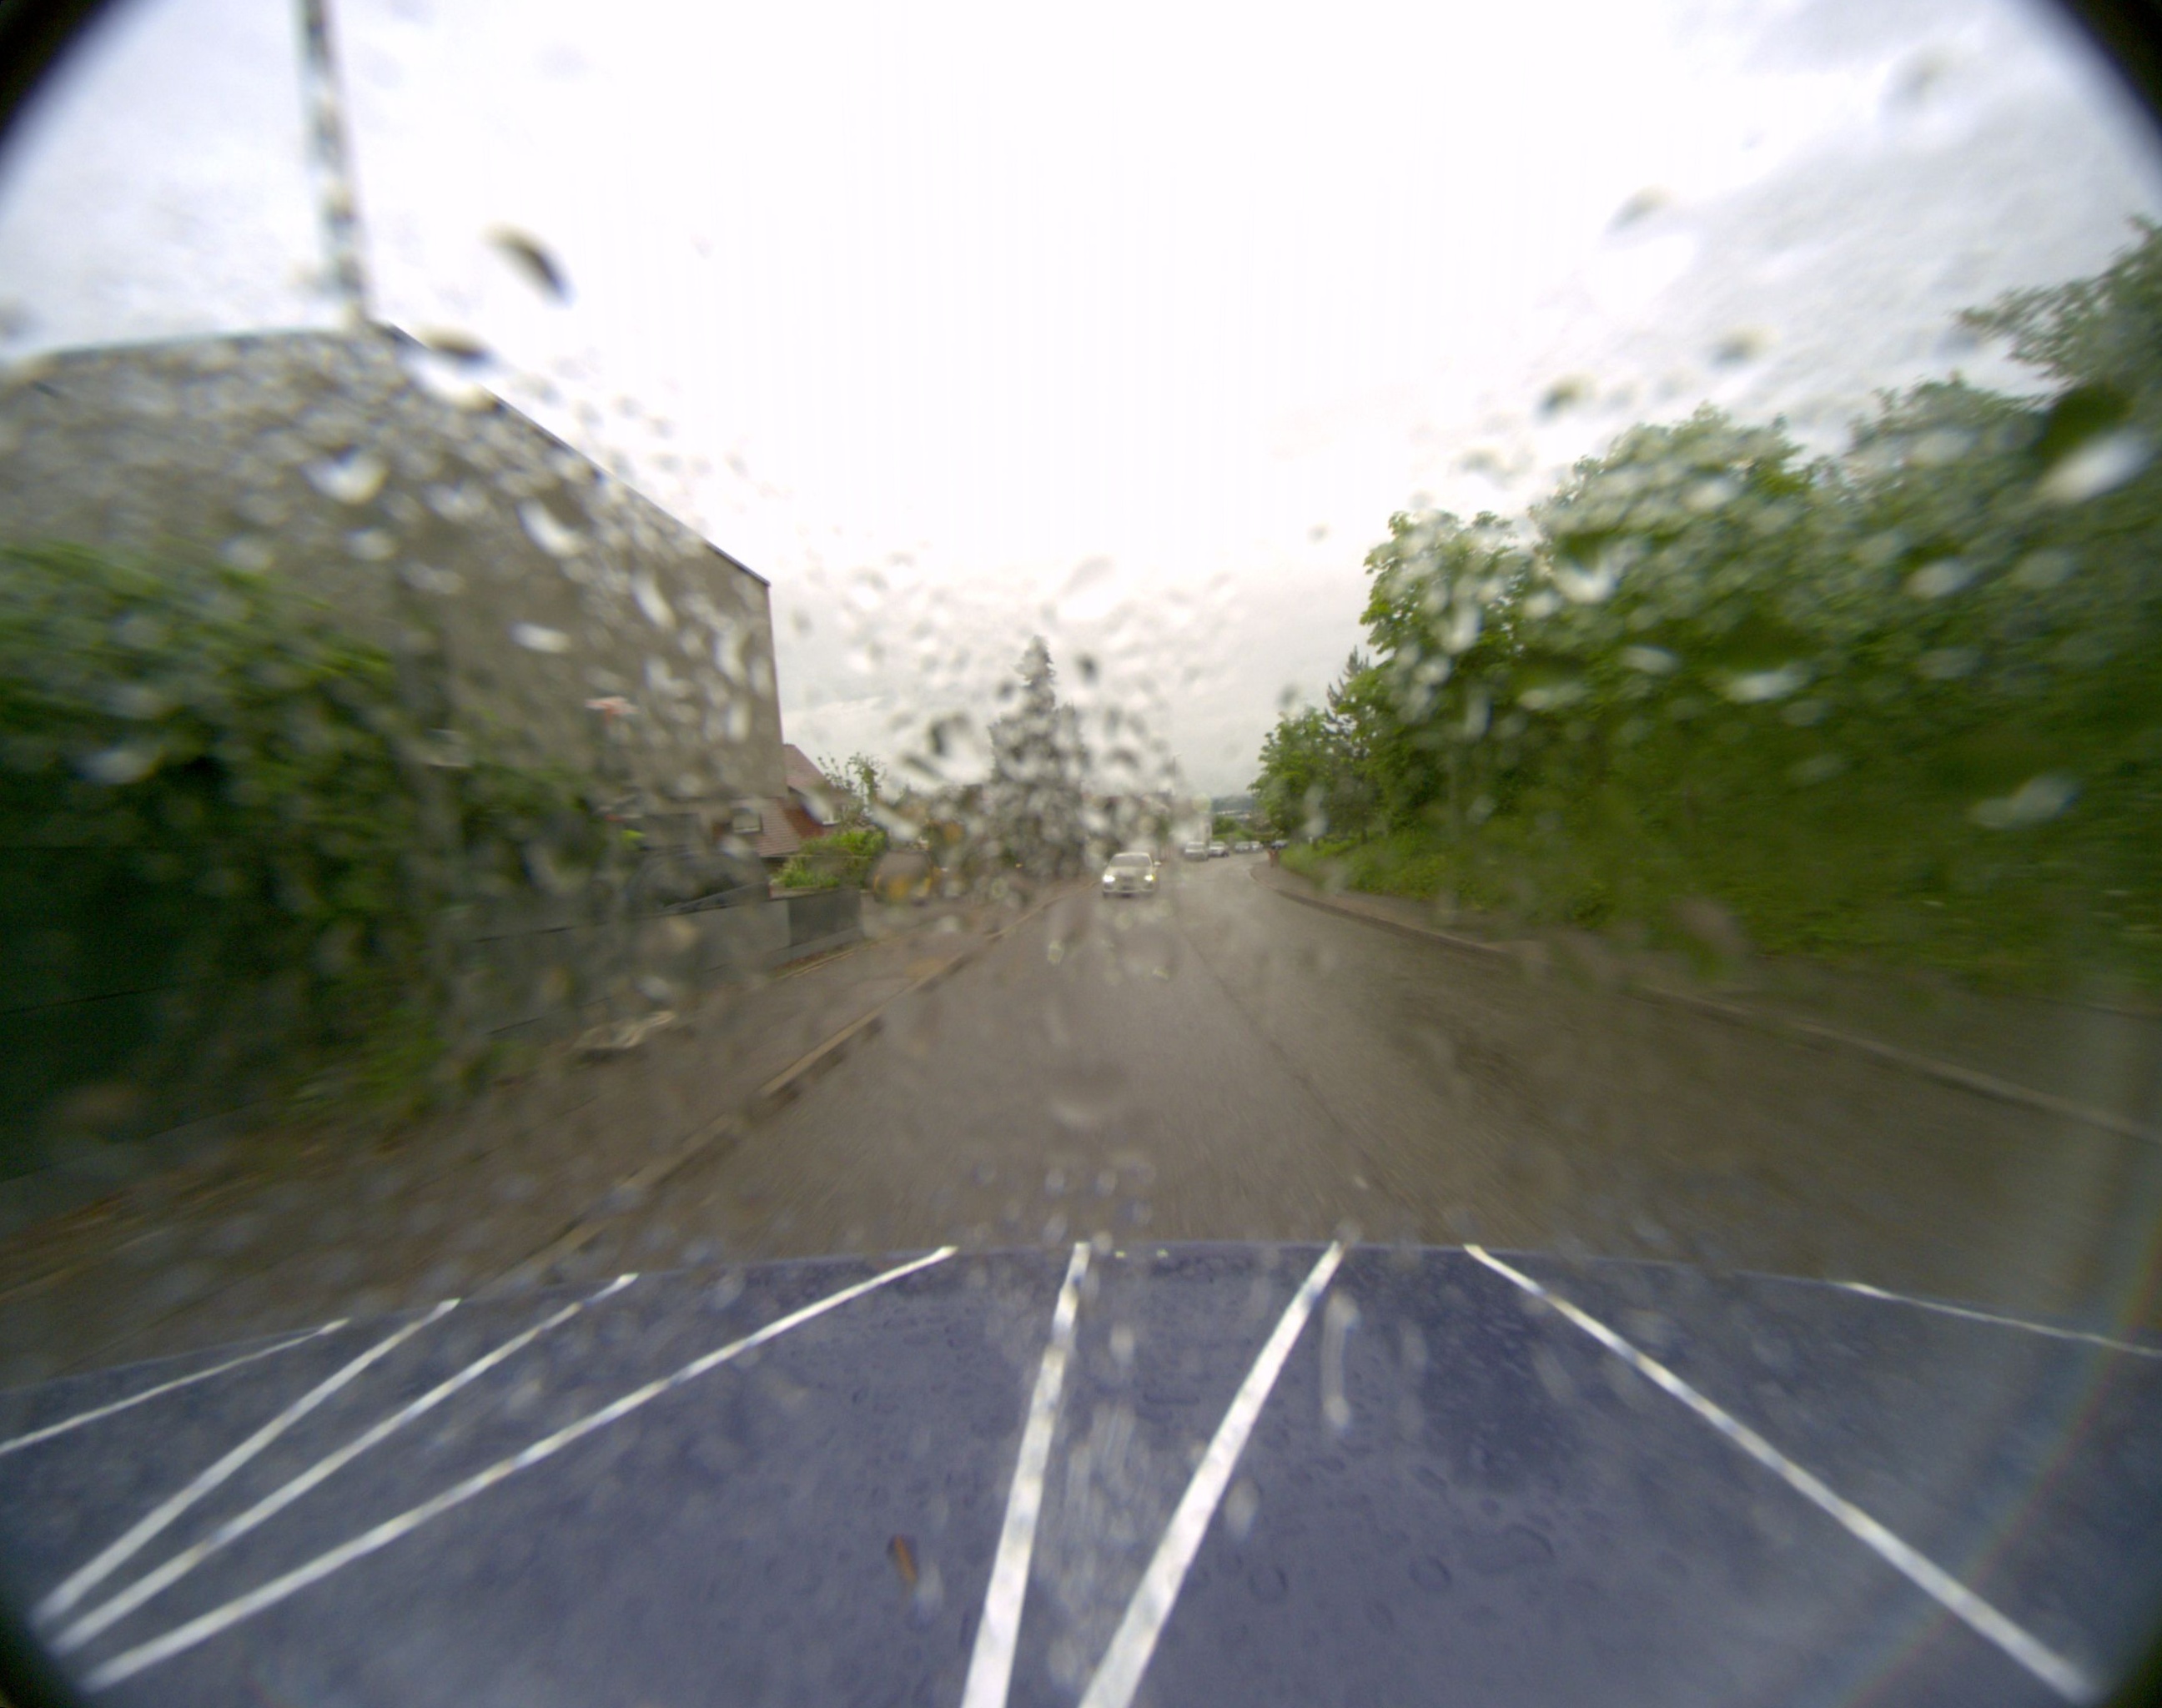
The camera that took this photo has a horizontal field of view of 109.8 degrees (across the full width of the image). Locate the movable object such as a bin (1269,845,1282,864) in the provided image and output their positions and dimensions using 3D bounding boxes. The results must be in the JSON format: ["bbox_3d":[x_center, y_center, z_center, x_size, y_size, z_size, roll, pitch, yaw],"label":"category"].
[{"bbox_3d":[11.924,0.059,46.561,0.695,1.083,0.804,-4,-3,17],"label":"movable object such as a bin"}]

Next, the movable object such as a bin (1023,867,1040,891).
[{"bbox_3d":[-2.080,1.054,32.075,0.505,0.964,0.595,-5,1,7],"label":"movable object such as a bin"}]

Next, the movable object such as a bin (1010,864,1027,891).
[{"bbox_3d":[-2.644,0.986,32.155,0.505,1.111,0.595,-5,1,7],"label":"movable object such as a bin"}]

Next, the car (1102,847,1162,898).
[{"bbox_3d":[1.801,0.566,25.779,1.797,1.455,4.001,0,2,7],"label":"car"}]

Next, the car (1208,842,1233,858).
[{"bbox_3d":[15.503,-0.494,84.122,1.805,1.618,4.294,1,2,23],"label":"car"}]

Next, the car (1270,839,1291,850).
[{"bbox_3d":[30.454,-1.423,115.981,1.858,1.518,5.072,2,2,29],"label":"car"}]

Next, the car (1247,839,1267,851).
[{"bbox_3d":[23.762,-1.246,102.452,1.769,1.459,4.241,2,2,25],"label":"car"}]

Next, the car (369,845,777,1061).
[{"bbox_3d":[-6.114,0.993,10.118,1.998,1.930,4.770,-2,4,2],"label":"car"}]

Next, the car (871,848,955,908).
[{"bbox_3d":[-4.846,0.638,22.323,1.632,1.485,3.425,3,2,0],"label":"car"}]

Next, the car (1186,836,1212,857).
[{"bbox_3d":[11.123,-0.735,71.532,1.781,1.793,4.711,-1,2,16],"label":"car"}]

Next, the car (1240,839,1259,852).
[{"bbox_3d":[21.632,-1.104,97.678,1.660,1.459,3.769,1,2,24],"label":"car"}]
